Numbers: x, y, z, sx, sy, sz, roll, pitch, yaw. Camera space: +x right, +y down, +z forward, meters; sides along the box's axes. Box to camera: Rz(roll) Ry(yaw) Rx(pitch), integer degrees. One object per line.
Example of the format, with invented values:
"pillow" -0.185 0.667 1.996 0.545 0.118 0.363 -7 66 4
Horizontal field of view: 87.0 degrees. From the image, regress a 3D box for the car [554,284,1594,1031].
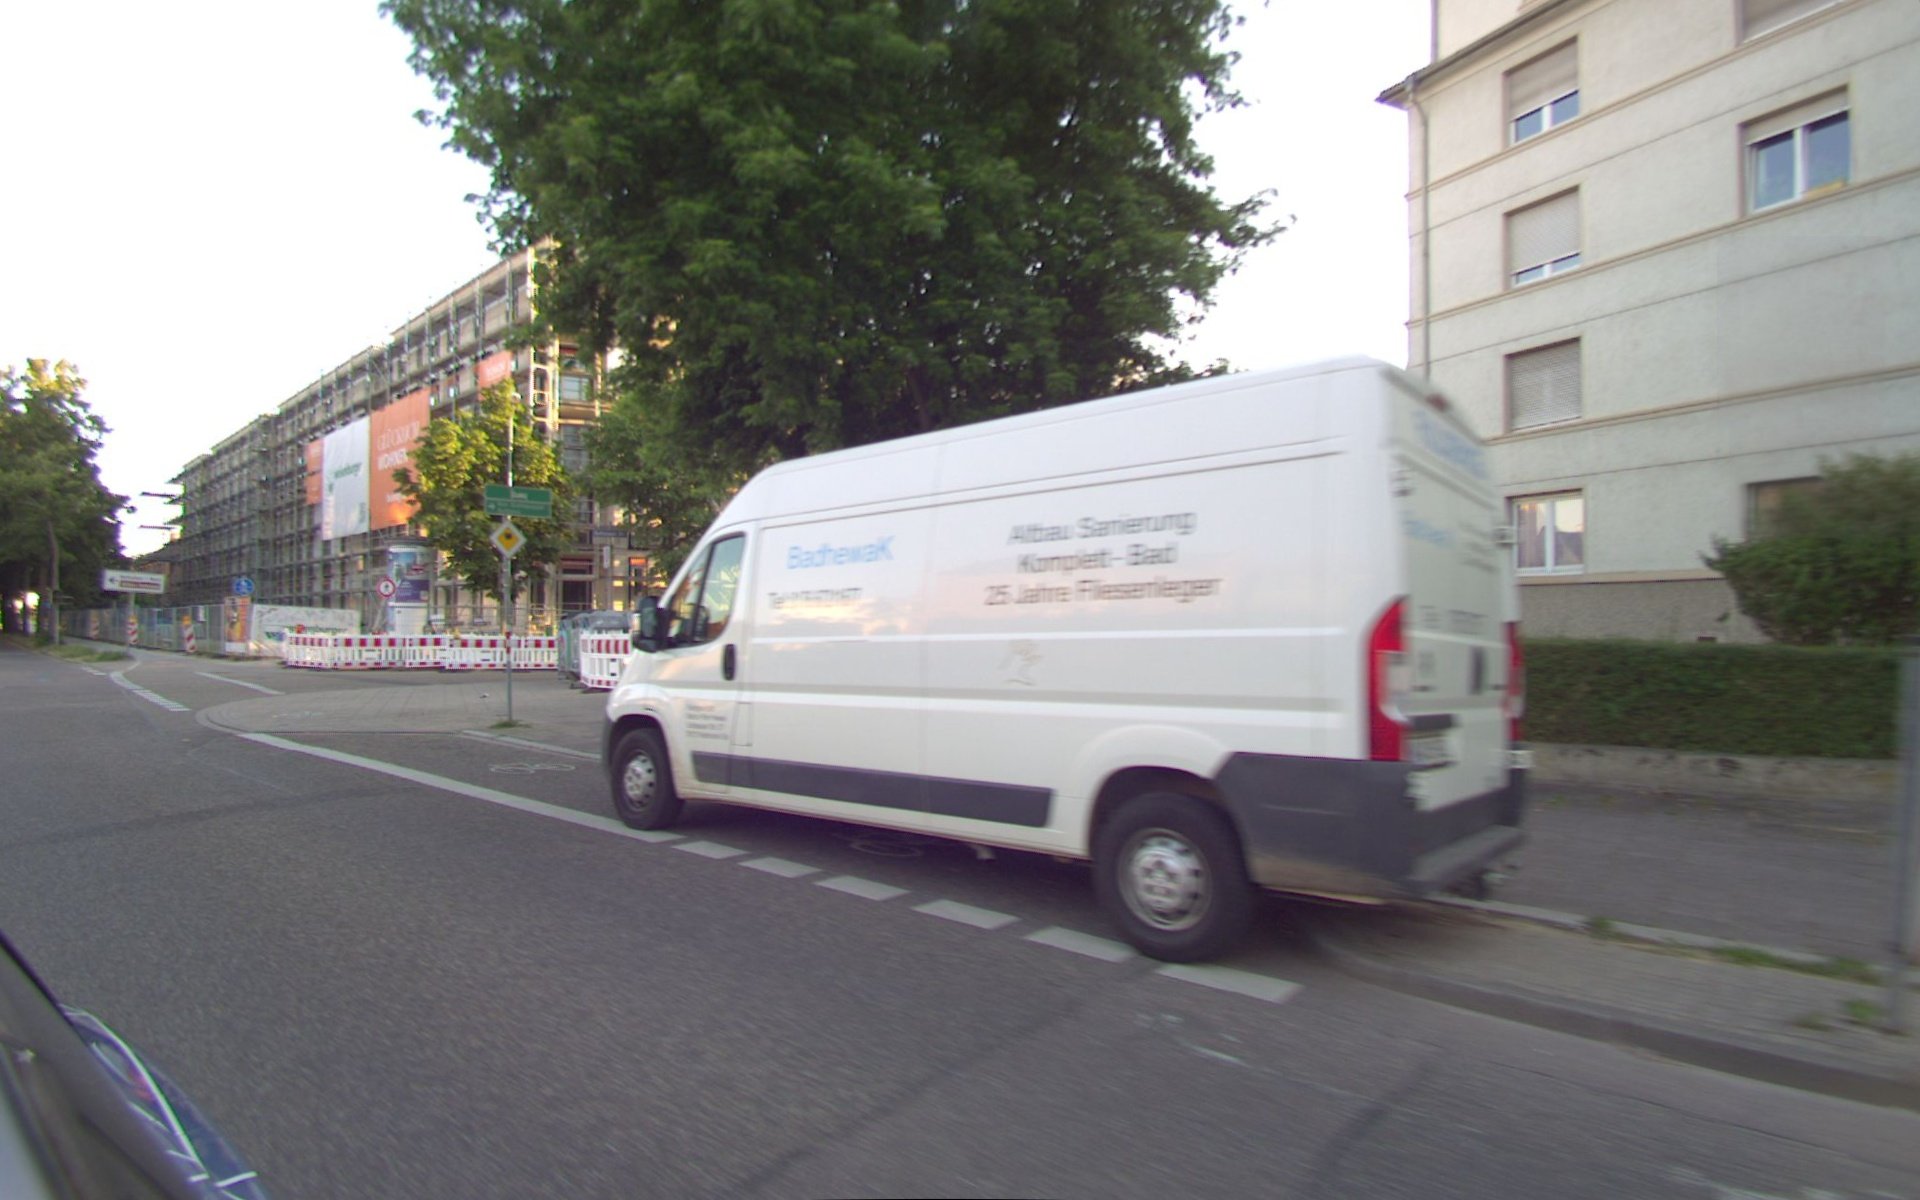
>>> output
"car" 0.128 0.293 6.181 6.099 2.480 2.156 -1 -5 41
